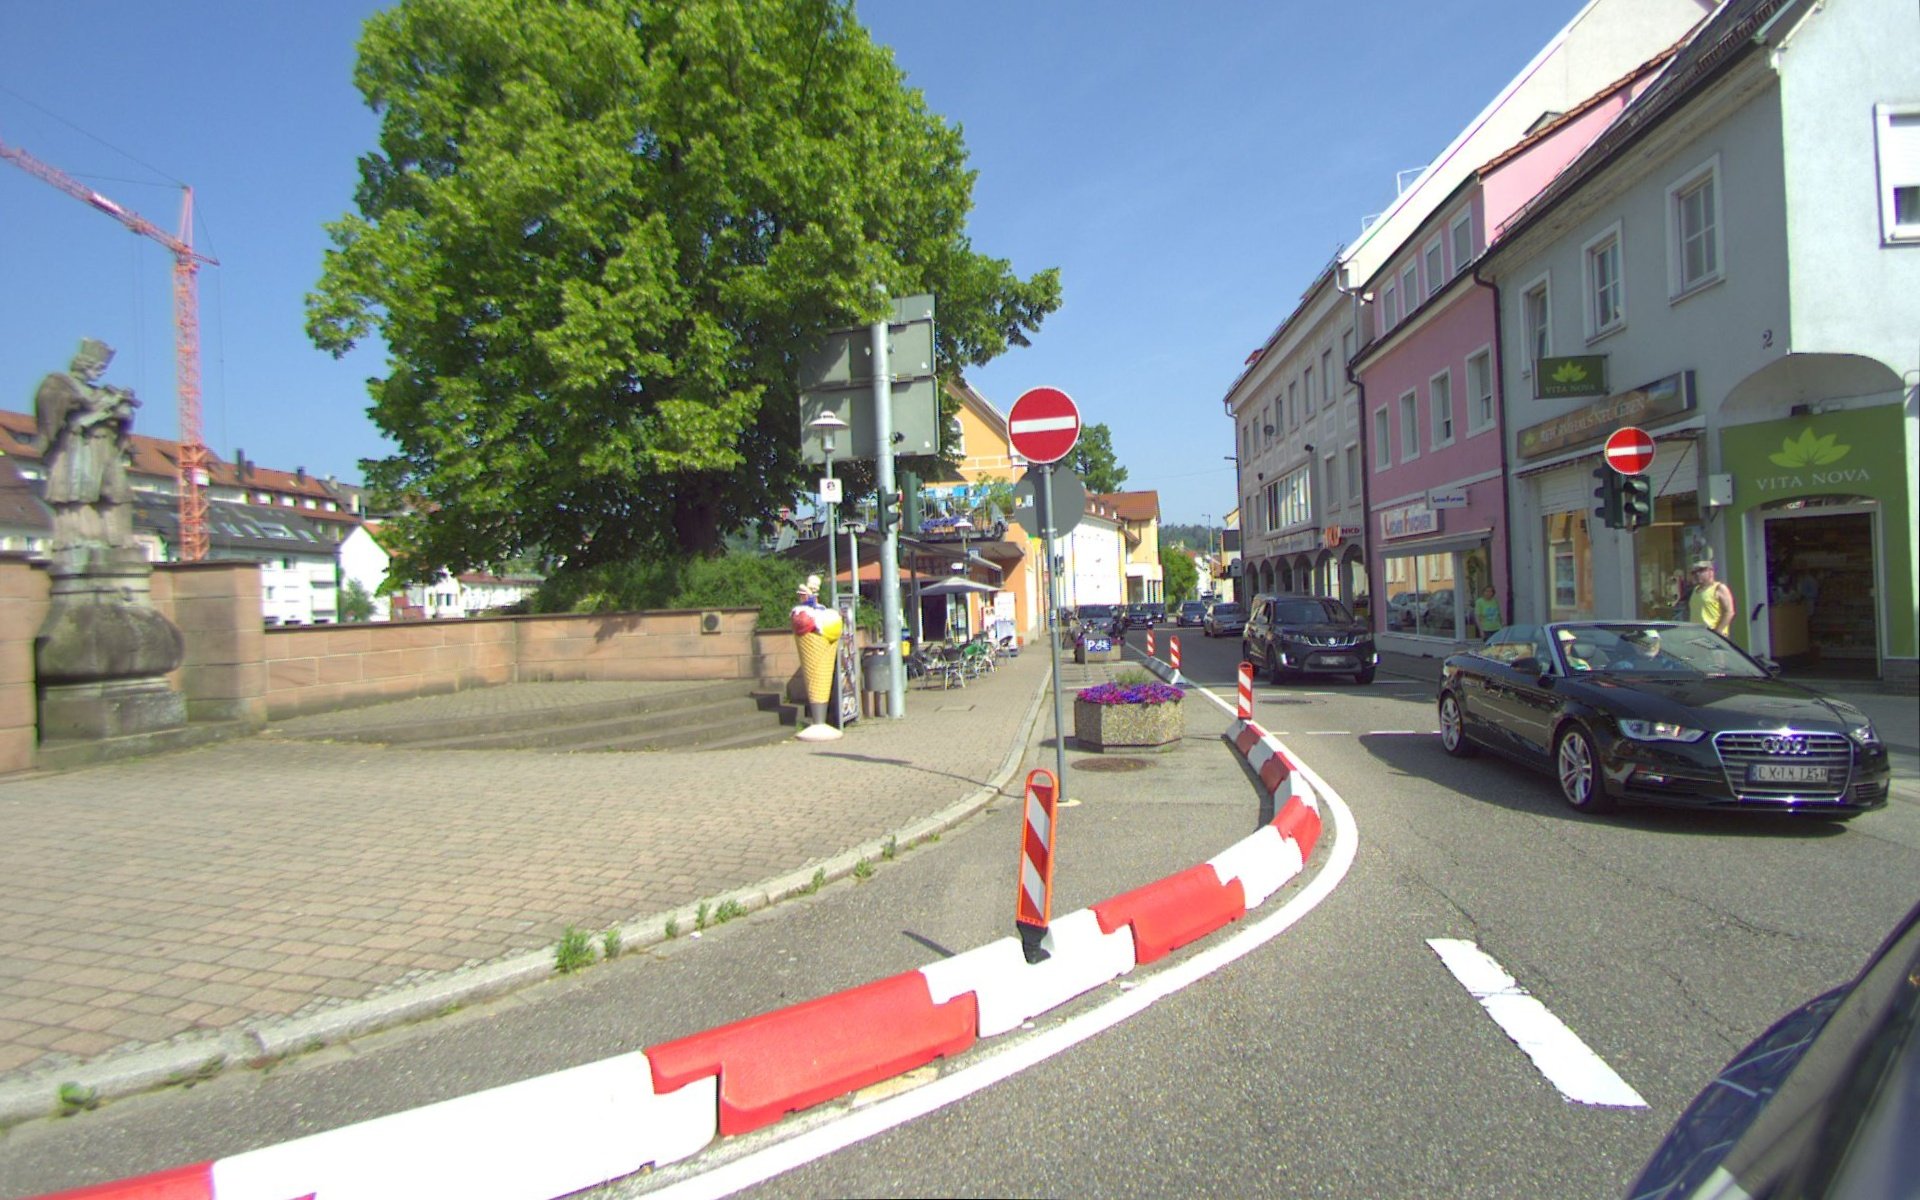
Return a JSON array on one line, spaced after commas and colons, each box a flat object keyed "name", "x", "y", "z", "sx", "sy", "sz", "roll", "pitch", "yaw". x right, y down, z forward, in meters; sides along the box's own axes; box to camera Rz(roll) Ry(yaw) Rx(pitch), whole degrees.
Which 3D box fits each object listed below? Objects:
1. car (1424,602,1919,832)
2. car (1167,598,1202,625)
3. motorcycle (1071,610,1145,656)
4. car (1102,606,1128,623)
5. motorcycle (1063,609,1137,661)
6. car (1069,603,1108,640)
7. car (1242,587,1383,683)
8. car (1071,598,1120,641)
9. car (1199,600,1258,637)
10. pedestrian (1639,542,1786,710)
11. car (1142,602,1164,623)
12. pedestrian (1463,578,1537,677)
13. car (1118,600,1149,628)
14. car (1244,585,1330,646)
[{"name": "car", "x": 5.351, "y": 0.723, "z": 8.231, "sx": 1.727, "sy": 1.374, "sz": 4.189, "roll": -1, "pitch": -1, "yaw": 9}, {"name": "car", "x": 14.039, "y": 0.717, "z": 63.400, "sx": 1.740, "sy": 1.581, "sz": 3.962, "roll": -2, "pitch": -1, "yaw": 7}, {"name": "motorcycle", "x": 4.414, "y": 0.969, "z": 30.186, "sx": 2.050, "sy": 1.286, "sz": 0.929, "roll": -1, "pitch": -1, "yaw": -33}, {"name": "car", "x": 12.478, "y": 1.169, "z": 81.411, "sx": 1.507, "sy": 1.260, "sz": 4.012, "roll": -2, "pitch": -1, "yaw": 17}, {"name": "motorcycle", "x": 3.978, "y": 0.966, "z": 28.682, "sx": 1.862, "sy": 1.375, "sz": 0.918, "roll": -2, "pitch": -1, "yaw": -28}, {"name": "car", "x": 6.020, "y": 0.976, "z": 47.441, "sx": 1.655, "sy": 1.578, "sz": 4.094, "roll": -3, "pitch": -1, "yaw": 7}, {"name": "car", "x": 6.511, "y": 0.608, "z": 19.094, "sx": 1.655, "sy": 1.581, "sz": 3.962, "roll": -2, "pitch": -1, "yaw": 7}, {"name": "car", "x": 5.592, "y": 0.783, "z": 42.226, "sx": 1.720, "sy": 1.617, "sz": 4.587, "roll": -3, "pitch": -1, "yaw": 5}, {"name": "car", "x": 11.759, "y": 0.790, "z": 44.573, "sx": 1.778, "sy": 1.489, "sz": 4.446, "roll": -3, "pitch": -1, "yaw": 7}, {"name": "pedestrian", "x": 8.894, "y": 0.319, "z": 11.973, "sx": 0.892, "sy": 1.837, "sz": 1.019, "roll": -6, "pitch": -1, "yaw": -38}, {"name": "car", "x": 15.372, "y": 0.982, "z": 80.424, "sx": 1.658, "sy": 1.581, "sz": 3.330, "roll": -2, "pitch": -1, "yaw": 12}, {"name": "pedestrian", "x": 9.534, "y": 0.469, "z": 17.895, "sx": 0.775, "sy": 1.652, "sz": 0.857, "roll": -5, "pitch": -1, "yaw": 9}, {"name": "car", "x": 10.645, "y": 0.839, "z": 62.162, "sx": 1.655, "sy": 1.581, "sz": 3.334, "roll": -2, "pitch": -1, "yaw": 7}, {"name": "car", "x": 10.662, "y": 0.488, "z": 33.294, "sx": 1.682, "sy": 1.761, "sz": 4.140, "roll": -4, "pitch": -1, "yaw": 5}]
